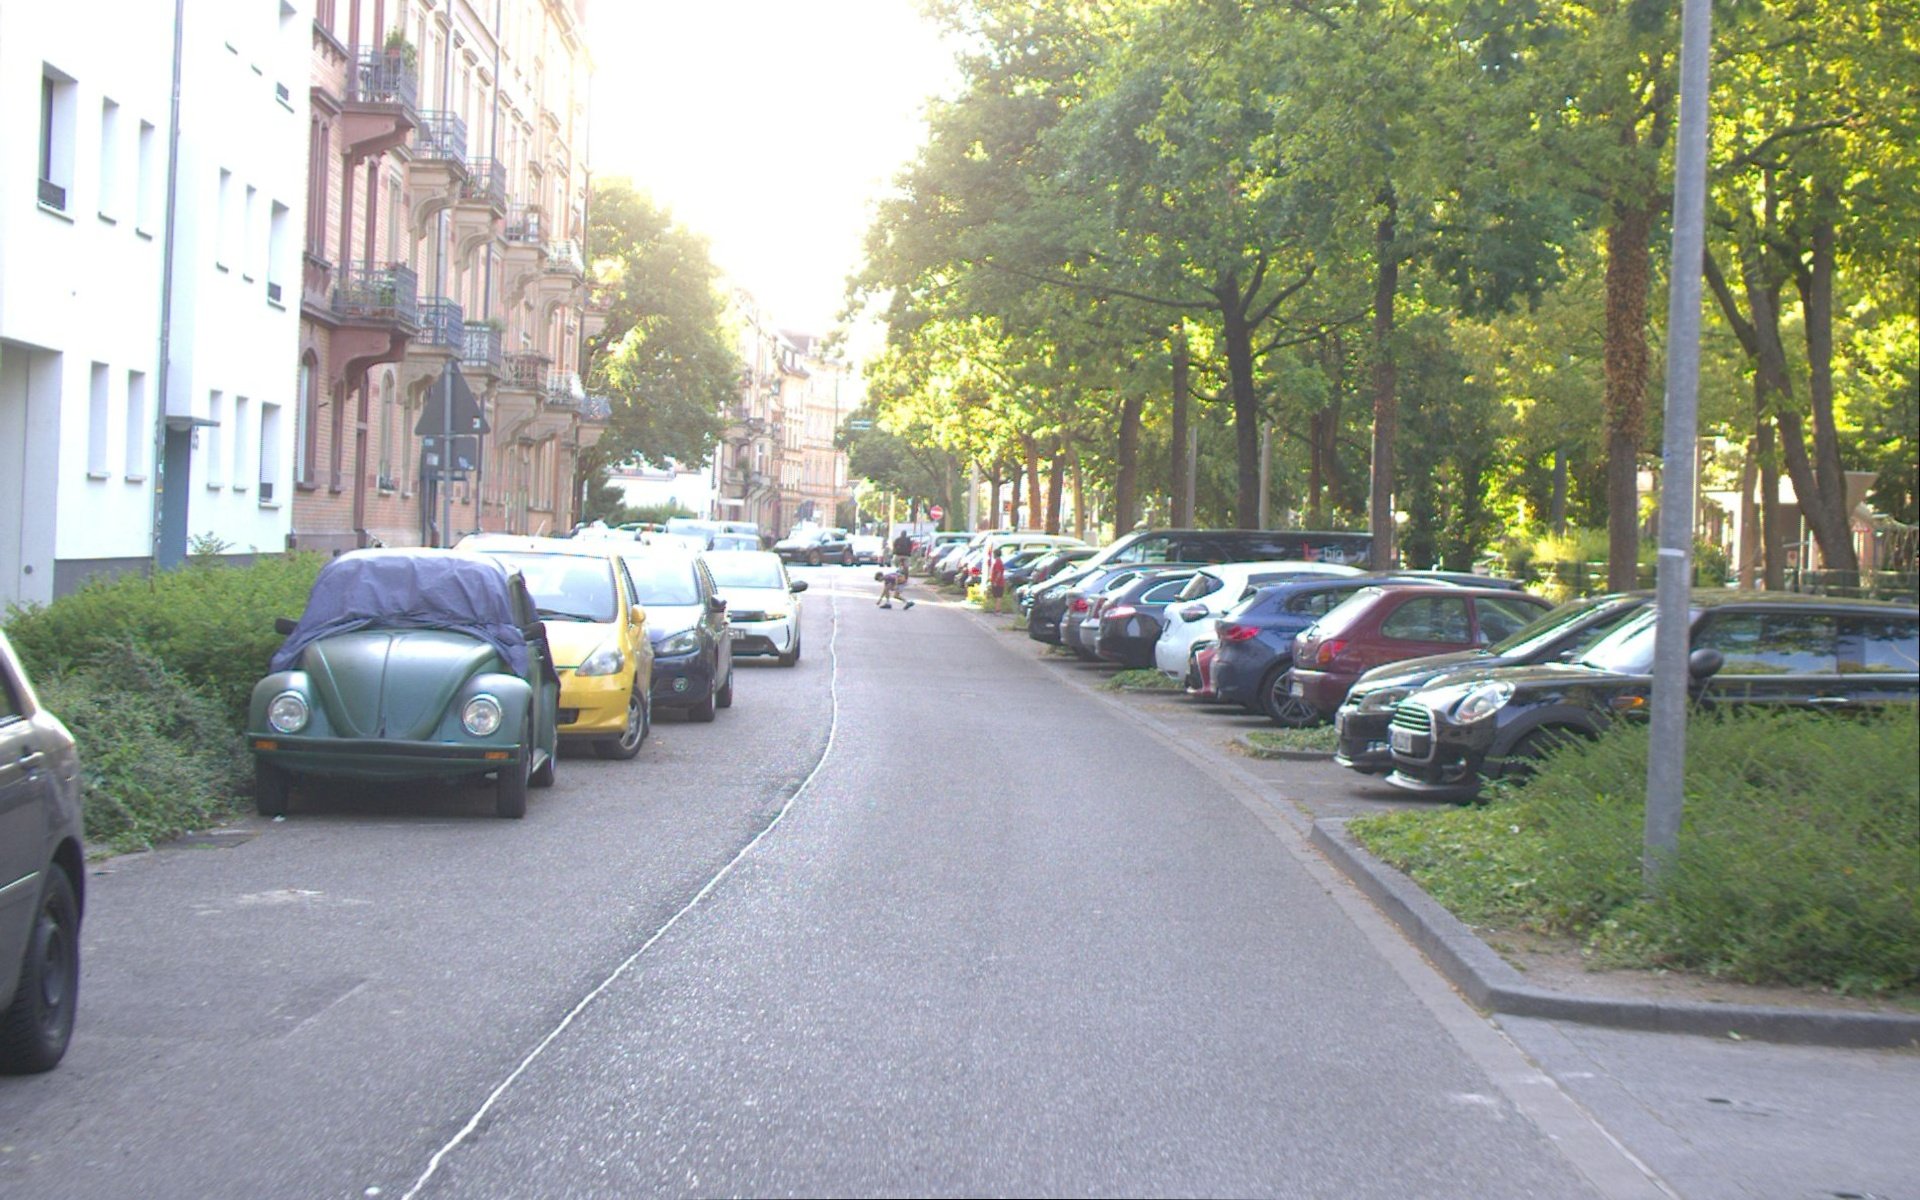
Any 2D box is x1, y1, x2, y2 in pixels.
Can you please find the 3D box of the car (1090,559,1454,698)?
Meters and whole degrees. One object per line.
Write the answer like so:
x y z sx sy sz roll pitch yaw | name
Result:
3.866 0.353 42.922 4.400 1.572 1.664 2 -1 3 | car

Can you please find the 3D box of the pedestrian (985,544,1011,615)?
0.829 -0.445 74.990 0.380 1.511 0.518 3 3 17 | pedestrian

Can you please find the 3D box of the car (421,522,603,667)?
-5.290 -0.100 41.014 1.668 1.503 4.001 5 1 -2 | car

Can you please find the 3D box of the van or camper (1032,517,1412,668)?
3.807 -0.129 50.776 5.414 2.020 2.029 2 2 1 | van or camper

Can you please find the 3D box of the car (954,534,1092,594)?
1.829 -1.076 100.787 3.987 1.685 1.859 1 1 -1 | car

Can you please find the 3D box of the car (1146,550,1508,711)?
4.035 0.335 38.199 3.782 1.640 1.664 2 -1 -1 | car

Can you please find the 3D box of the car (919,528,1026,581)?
0.487 -1.786 135.605 3.986 1.788 1.859 4 -1 -4 | car

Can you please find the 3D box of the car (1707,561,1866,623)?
26.829 -0.259 111.596 4.705 1.678 1.997 3 -1 22 | car

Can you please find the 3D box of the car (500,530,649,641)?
-5.640 -0.245 50.673 1.616 1.447 4.000 4 1 0 | car

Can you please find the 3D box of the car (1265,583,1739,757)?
4.738 0.609 30.369 3.781 1.397 1.767 2 -1 -5 | car

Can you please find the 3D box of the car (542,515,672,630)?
-5.711 -0.468 55.957 1.751 1.700 4.201 3 1 -2 | car

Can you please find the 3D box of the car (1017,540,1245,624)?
3.491 -0.377 70.613 4.398 1.585 1.838 2 0 -6 | car

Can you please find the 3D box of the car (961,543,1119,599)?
2.174 -0.795 92.825 4.220 1.448 1.649 1 1 2 | car

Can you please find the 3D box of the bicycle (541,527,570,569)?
-11.757 -1.517 99.949 0.704 1.143 1.890 4 -1 -5 | bicycle

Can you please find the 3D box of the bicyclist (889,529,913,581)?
-1.839 -1.381 106.659 0.627 1.568 0.802 4 -1 -3 | bicyclist

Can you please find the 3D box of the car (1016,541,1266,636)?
3.303 -0.213 63.229 4.399 1.585 1.838 2 0 -2 | car

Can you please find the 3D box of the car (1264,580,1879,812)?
4.056 0.630 23.232 3.782 1.397 1.827 2 -1 -1 | car

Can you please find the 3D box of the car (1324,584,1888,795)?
4.706 0.645 25.366 3.781 1.397 1.664 2 -1 -2 | car

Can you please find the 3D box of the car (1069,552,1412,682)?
3.698 0.229 45.836 4.399 1.572 1.664 2 -1 1 | car

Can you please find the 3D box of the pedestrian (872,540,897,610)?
-1.735 -0.588 79.215 0.380 1.579 0.518 3 3 17 | pedestrian

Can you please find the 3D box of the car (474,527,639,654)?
-5.357 -0.157 46.117 1.668 1.466 4.284 5 1 -1 | car

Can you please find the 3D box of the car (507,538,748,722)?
-2.861 0.213 30.282 1.739 1.474 4.000 1 1 -1 | car

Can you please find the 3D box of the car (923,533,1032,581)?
0.666 -1.663 132.940 3.986 1.558 1.859 4 -1 -4 | car

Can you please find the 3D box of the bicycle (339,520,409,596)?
-10.026 -0.730 58.879 0.737 1.202 2.514 4 2 -1 | bicycle

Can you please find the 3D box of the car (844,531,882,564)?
-4.531 -2.442 160.146 1.668 1.459 4.001 1 1 -3 | car

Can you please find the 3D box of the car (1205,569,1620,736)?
4.264 0.494 32.796 3.782 1.442 1.664 2 -1 4 | car

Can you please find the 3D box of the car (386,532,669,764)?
-3.102 0.299 25.303 1.702 1.520 3.774 2 1 -2 | car

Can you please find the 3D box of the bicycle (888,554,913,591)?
-1.860 -0.846 106.613 0.641 1.096 1.944 4 -1 -3 | bicycle

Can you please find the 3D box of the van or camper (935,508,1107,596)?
1.834 -1.456 105.346 4.981 2.369 2.185 4 -1 -3 | van or camper

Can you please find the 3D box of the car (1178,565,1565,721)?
4.207 0.436 35.569 3.782 1.468 1.664 2 -1 1 | car

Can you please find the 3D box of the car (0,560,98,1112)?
-3.348 0.646 8.215 1.636 1.461 4.000 0 1 -1 | car

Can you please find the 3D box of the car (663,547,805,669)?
-2.905 0.070 44.807 1.668 1.426 4.001 0 2 -1 | car

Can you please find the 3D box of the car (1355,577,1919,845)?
4.427 0.663 20.689 3.781 1.467 1.635 2 -1 -5 | car

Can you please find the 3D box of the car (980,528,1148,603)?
2.642 -0.895 88.382 4.220 1.857 1.762 1 1 -1 | car

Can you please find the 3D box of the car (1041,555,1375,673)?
3.436 0.204 48.110 4.398 1.496 1.838 2 -1 -4 | car

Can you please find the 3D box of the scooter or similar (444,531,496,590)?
-10.944 -0.881 76.881 0.783 1.218 2.704 4 -1 -2 | scooter or similar

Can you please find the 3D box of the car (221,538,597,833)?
-3.133 0.428 20.185 1.566 1.512 3.782 2 1 0 | car
